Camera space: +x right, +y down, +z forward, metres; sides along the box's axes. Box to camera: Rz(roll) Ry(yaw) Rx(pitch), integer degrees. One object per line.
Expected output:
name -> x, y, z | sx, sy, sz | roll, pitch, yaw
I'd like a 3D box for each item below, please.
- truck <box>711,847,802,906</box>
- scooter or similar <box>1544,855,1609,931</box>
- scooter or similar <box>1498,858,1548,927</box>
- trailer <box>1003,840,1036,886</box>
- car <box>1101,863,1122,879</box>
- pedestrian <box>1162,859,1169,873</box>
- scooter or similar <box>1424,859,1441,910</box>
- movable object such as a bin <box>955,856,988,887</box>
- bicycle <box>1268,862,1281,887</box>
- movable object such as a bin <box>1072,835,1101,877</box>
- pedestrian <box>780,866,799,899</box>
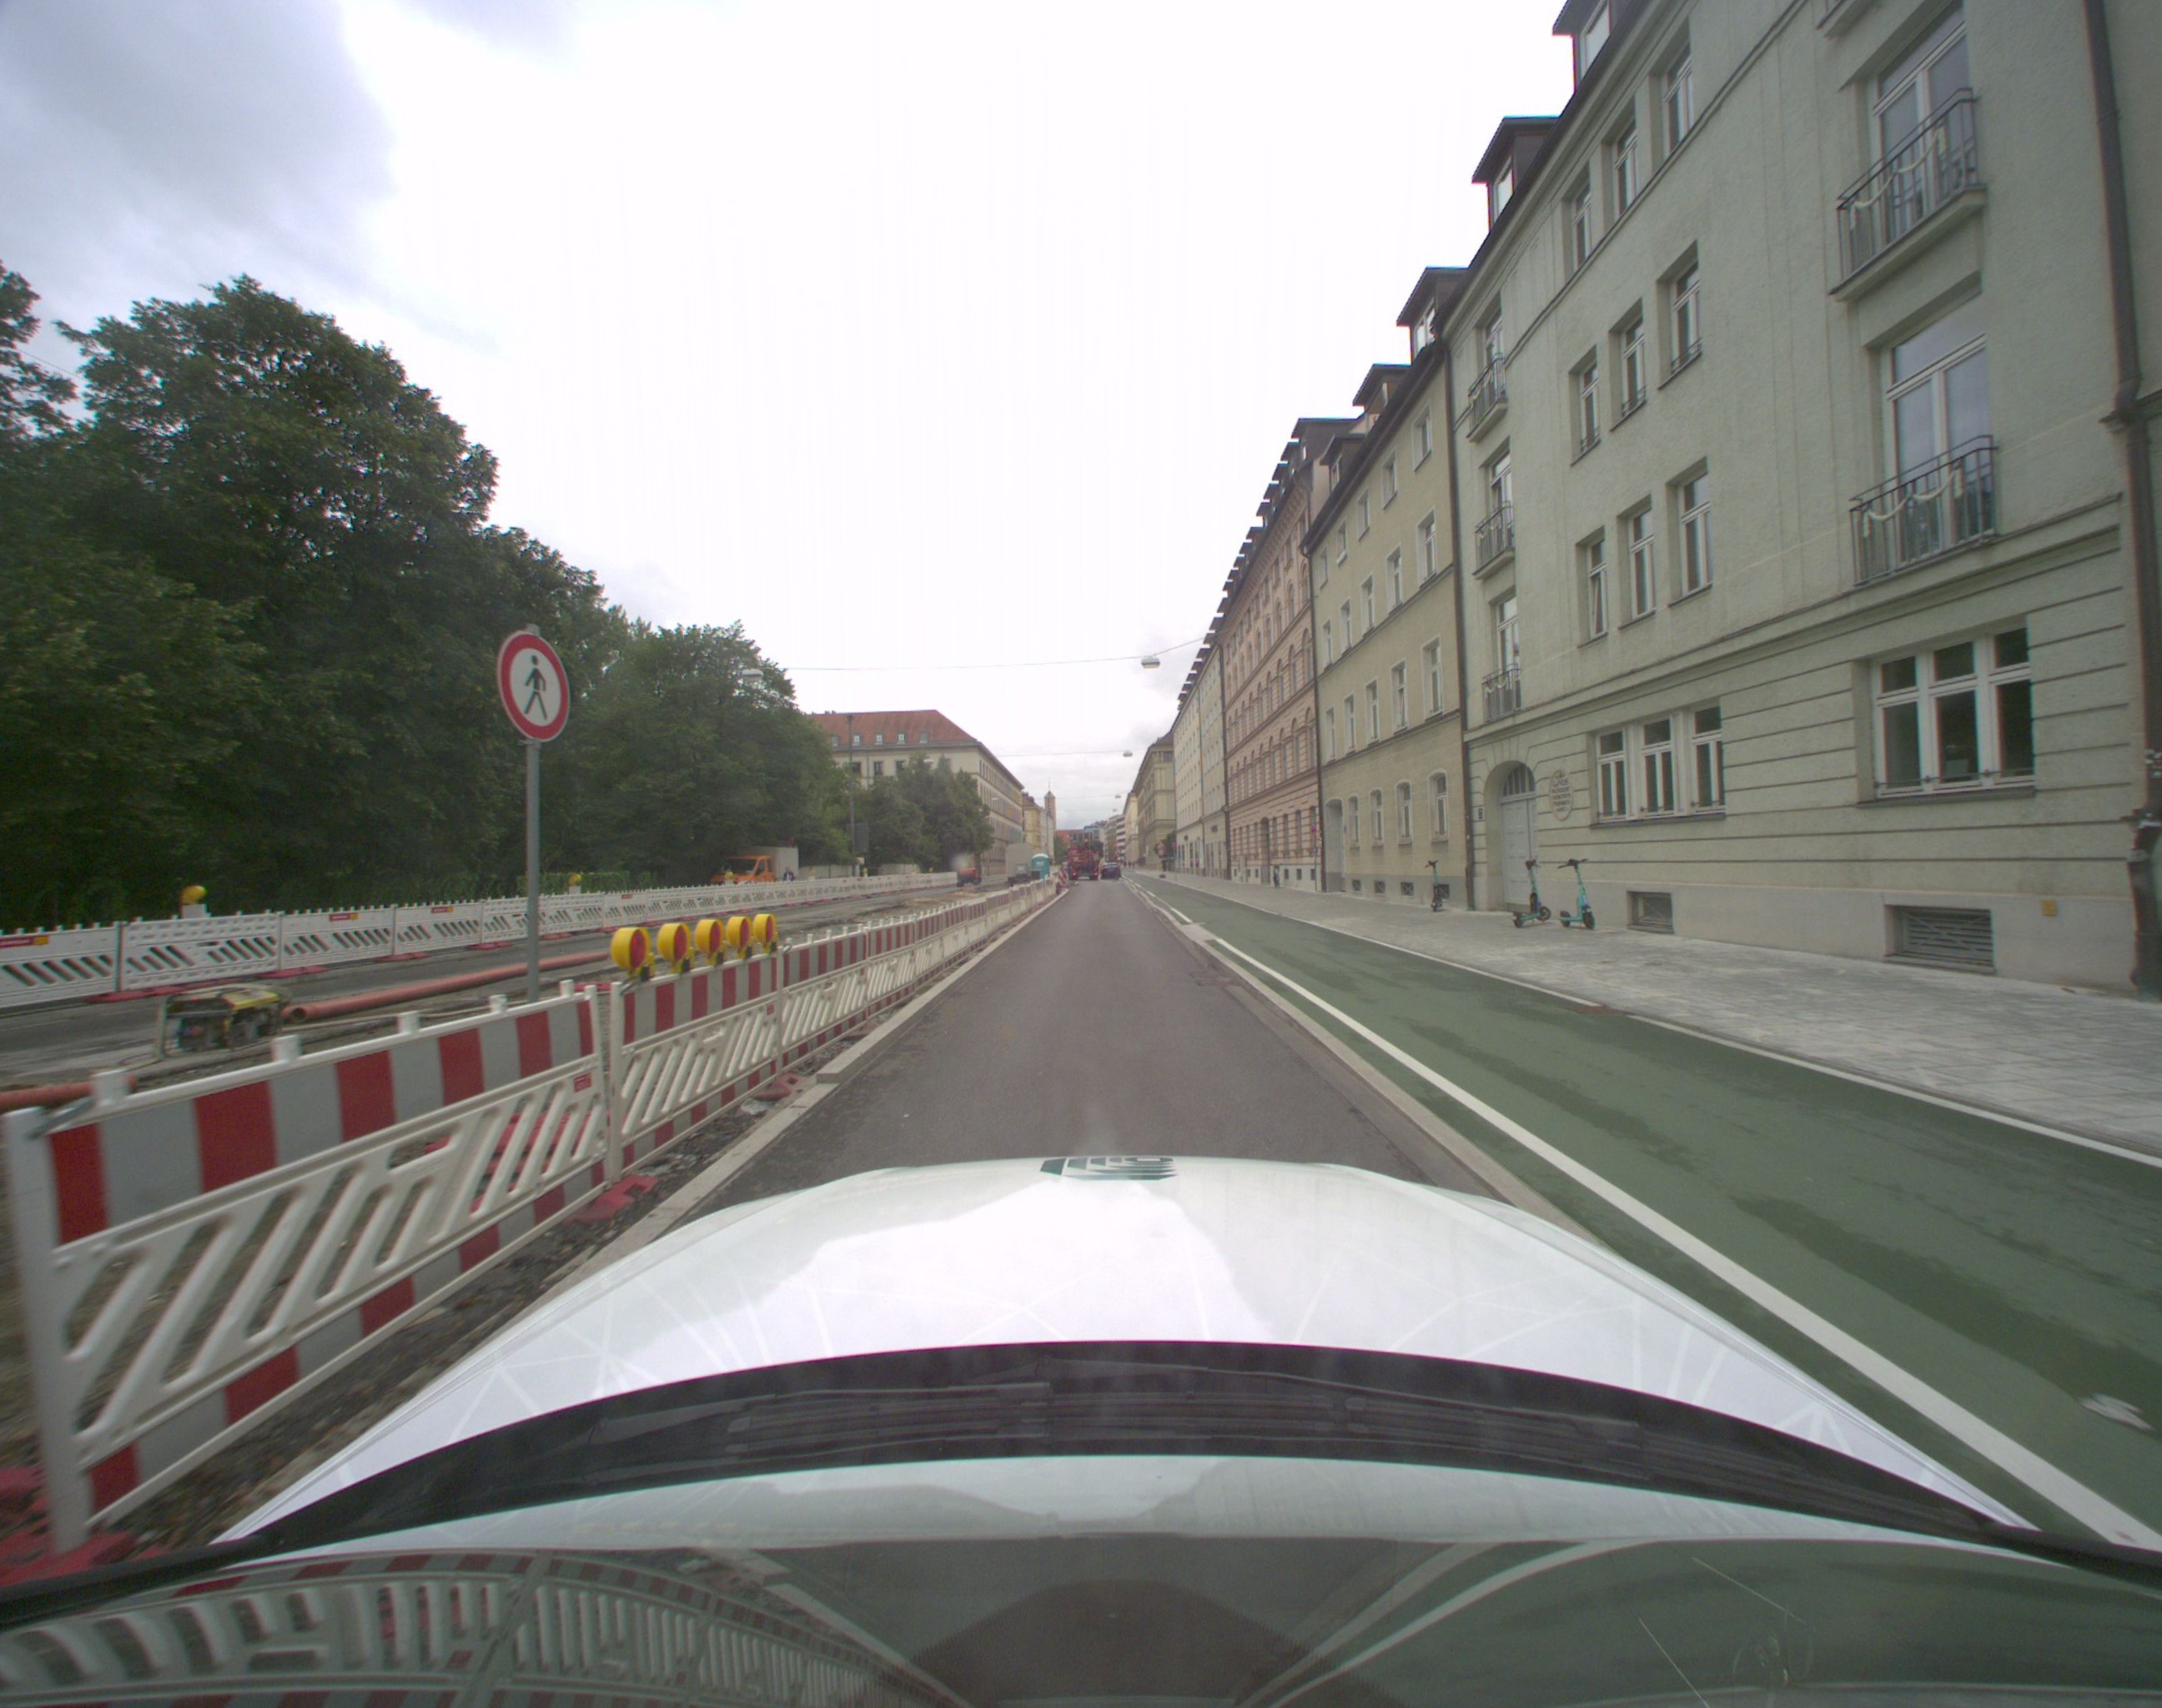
truck -> -16.117, 1.072, 40.883 | 1.986, 2.728, 5.873 | -1, -1, 2
scooter or similar -> 8.751, 0.669, 14.419 | 0.385, 1.272, 1.119 | -3, -2, 1
scooter or similar -> 8.384, 0.712, 15.445 | 1.123, 1.231, 0.244 | -2, -2, -32
trailer -> -4.550, 0.698, 61.295 | 2.222, 3.244, 7.509 | -2, -1, -3
car -> 2.904, 1.640, 78.389 | 1.796, 1.480, 4.686 | -2, -1, 0
pedestrian -> 11.221, 1.583, 108.019 | 0.787, 1.836, 0.777 | -2, -1, 2
scooter or similar -> 8.789, 0.745, 20.348 | 0.244, 1.231, 1.126 | -4, -2, 27
movable object such as a bin -> -9.202, 1.448, 68.554 | 1.916, 2.572, 4.495 | -1, -1, 3
bicycle -> 9.217, 0.973, 38.792 | 0.422, 1.174, 1.739 | -3, -1, 18
movable object such as a bin -> 0.517, 0.240, 73.521 | 2.415, 3.612, 5.850 | -1, -1, 0
pedestrian -> -14.587, 1.431, 40.700 | 0.660, 1.603, 0.698 | -1, -1, 2
